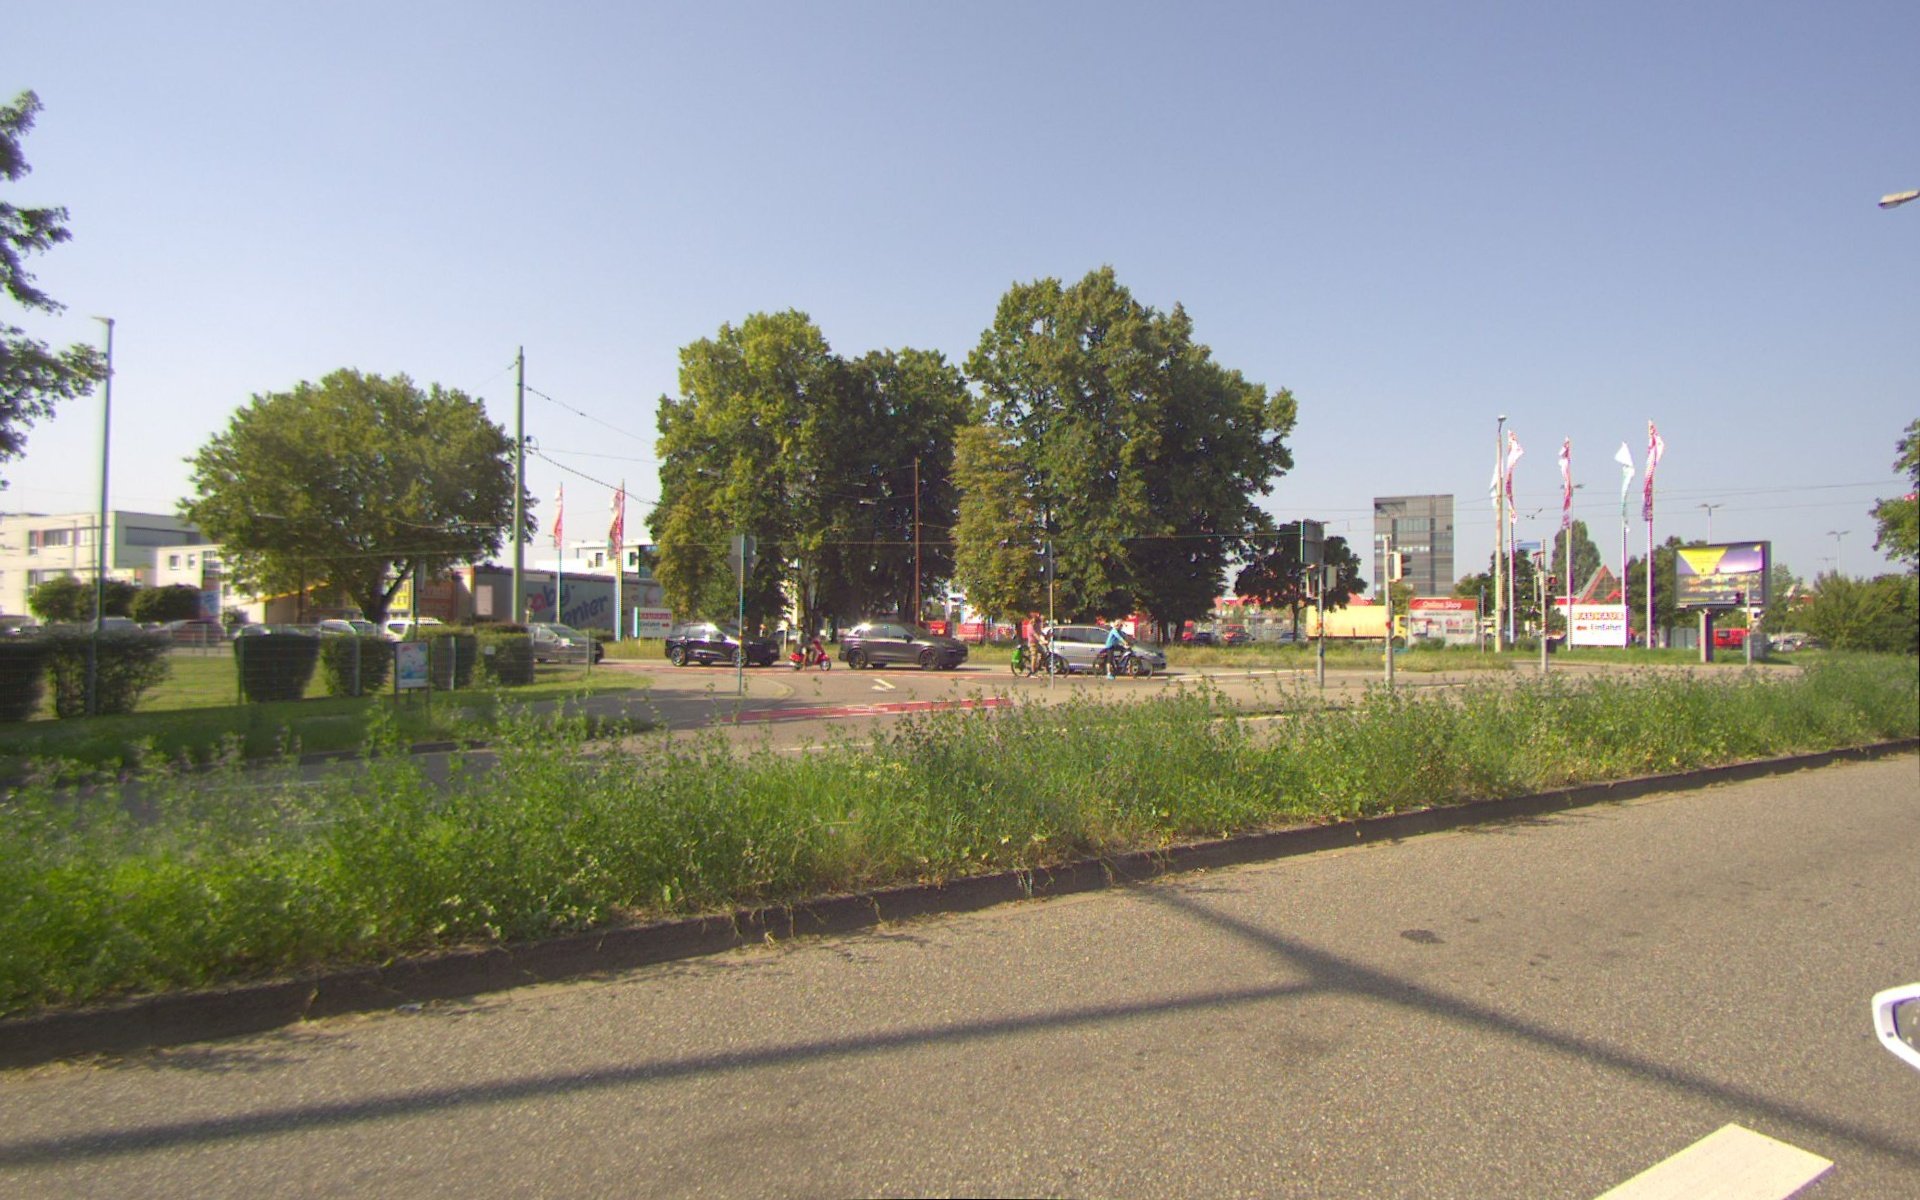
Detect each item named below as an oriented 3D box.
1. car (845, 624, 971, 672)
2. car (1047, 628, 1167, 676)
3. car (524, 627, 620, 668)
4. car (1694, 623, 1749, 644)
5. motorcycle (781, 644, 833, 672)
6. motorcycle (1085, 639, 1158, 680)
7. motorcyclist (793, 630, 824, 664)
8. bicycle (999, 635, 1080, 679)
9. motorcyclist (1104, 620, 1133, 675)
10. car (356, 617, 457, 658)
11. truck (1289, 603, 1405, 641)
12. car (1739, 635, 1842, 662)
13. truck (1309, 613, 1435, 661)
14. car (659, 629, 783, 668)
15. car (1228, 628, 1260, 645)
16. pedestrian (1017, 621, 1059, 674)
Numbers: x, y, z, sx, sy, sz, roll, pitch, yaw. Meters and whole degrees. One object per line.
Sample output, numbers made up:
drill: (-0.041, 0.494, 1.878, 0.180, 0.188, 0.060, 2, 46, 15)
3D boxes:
car: (-1.877, 1.676, 35.889, 4.228, 1.600, 1.571, 0, -1, 23)
car: (4.806, 1.675, 32.932, 3.632, 1.462, 1.466, 0, -1, 24)
car: (-15.817, 1.909, 41.006, 3.425, 1.601, 1.726, -1, -2, 23)
car: (78.311, 3.468, 103.342, 4.211, 2.040, 1.998, 0, -1, 27)
motorcycle: (-5.461, 2.061, 35.827, 1.688, 0.957, 0.711, 0, -1, 24)
motorcycle: (4.775, 1.744, 29.773, 2.036, 1.151, 0.677, 0, -1, 24)
motorcyclist: (-5.395, 1.676, 35.814, 0.814, 1.194, 0.691, 0, -1, 24)
bicycle: (2.420, 1.729, 30.715, 2.315, 1.252, 0.873, 0, -1, 24)
motorcyclist: (4.704, 1.390, 29.815, 0.670, 1.593, 0.683, 0, -1, 23)
car: (-24.505, 1.648, 44.455, 3.923, 1.701, 1.870, 0, -1, 23)
truck: (32.158, 1.869, 83.596, 8.842, 2.996, 3.513, -1, -2, 24)
car: (38.103, 2.213, 46.167, 1.471, 1.152, 3.369, 1, -2, -22)
truck: (21.258, 1.852, 52.087, 2.083, 2.360, 5.946, 1, -1, -33)
car: (-9.249, 1.850, 38.834, 4.656, 1.462, 1.571, -1, -2, 23)
car: (20.272, 2.594, 71.656, 1.581, 1.150, 3.412, 0, -1, 27)
pedestrian: (2.400, 1.437, 30.716, 1.038, 1.595, 0.868, 0, -1, 24)
